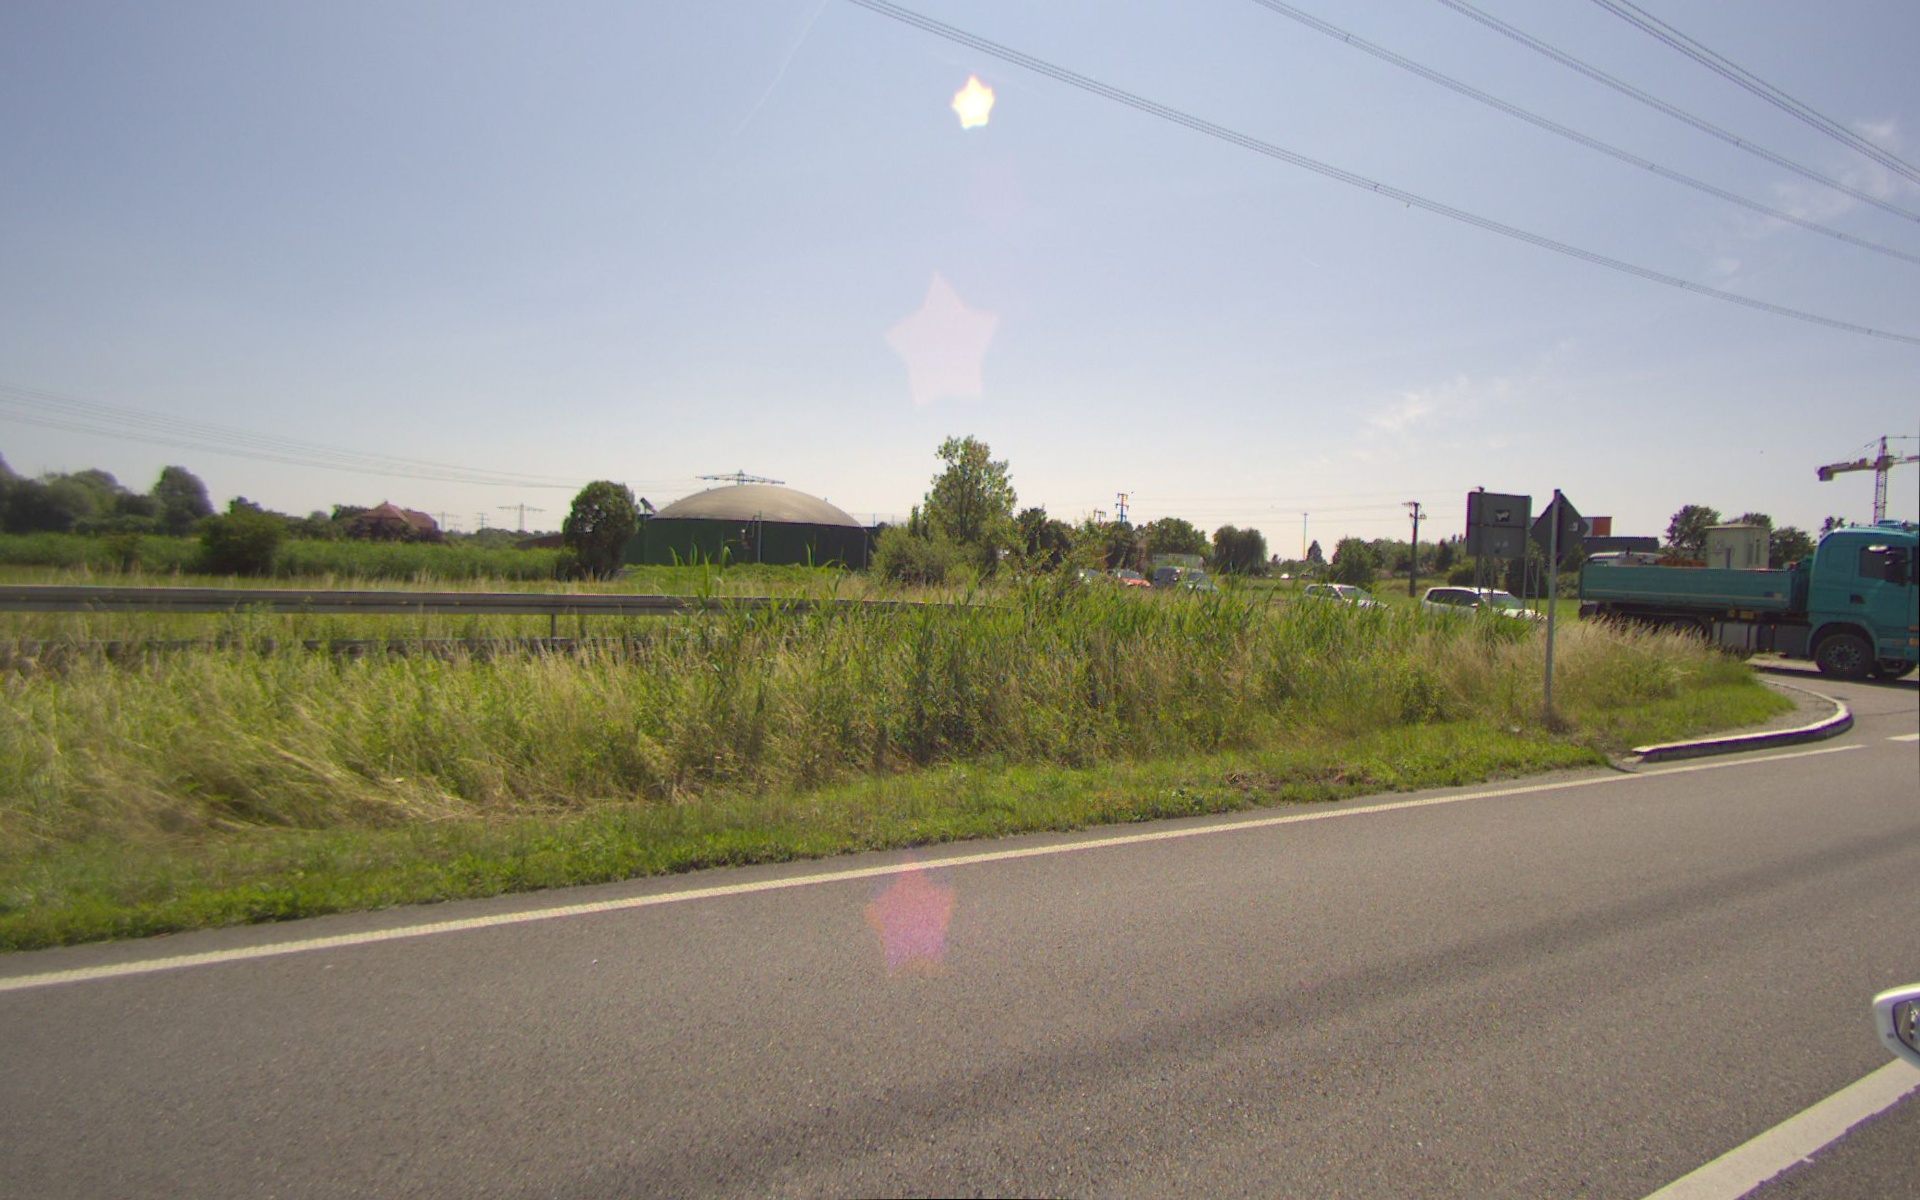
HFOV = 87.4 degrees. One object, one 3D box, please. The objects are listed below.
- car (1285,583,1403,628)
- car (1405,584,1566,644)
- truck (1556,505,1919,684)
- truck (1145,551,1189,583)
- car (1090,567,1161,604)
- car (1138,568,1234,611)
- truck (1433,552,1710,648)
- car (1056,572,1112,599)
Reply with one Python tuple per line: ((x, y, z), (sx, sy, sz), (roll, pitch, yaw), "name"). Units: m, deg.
((14.258, 0.174, 37.563), (1.691, 1.490, 4.427), (1, 1, -18), "car")
((16.459, 0.390, 31.766), (1.935, 1.634, 4.541), (1, 2, -15), "car")
((19.674, -0.300, 25.208), (2.466, 3.785, 7.874), (1, 3, -27), "truck")
((33.355, -5.215, 161.430), (3.621, 4.708, 13.226), (2, 1, 26), "truck")
((8.873, -0.821, 54.276), (1.886, 1.874, 4.464), (1, 2, -18), "car")
((10.650, -0.539, 47.781), (2.057, 1.893, 4.928), (0, 2, -21), "car")
((23.695, -0.077, 39.822), (2.787, 3.332, 9.651), (1, 1, -21), "truck")
((7.390, -0.890, 60.031), (1.754, 1.498, 3.983), (1, 2, -18), "car")
